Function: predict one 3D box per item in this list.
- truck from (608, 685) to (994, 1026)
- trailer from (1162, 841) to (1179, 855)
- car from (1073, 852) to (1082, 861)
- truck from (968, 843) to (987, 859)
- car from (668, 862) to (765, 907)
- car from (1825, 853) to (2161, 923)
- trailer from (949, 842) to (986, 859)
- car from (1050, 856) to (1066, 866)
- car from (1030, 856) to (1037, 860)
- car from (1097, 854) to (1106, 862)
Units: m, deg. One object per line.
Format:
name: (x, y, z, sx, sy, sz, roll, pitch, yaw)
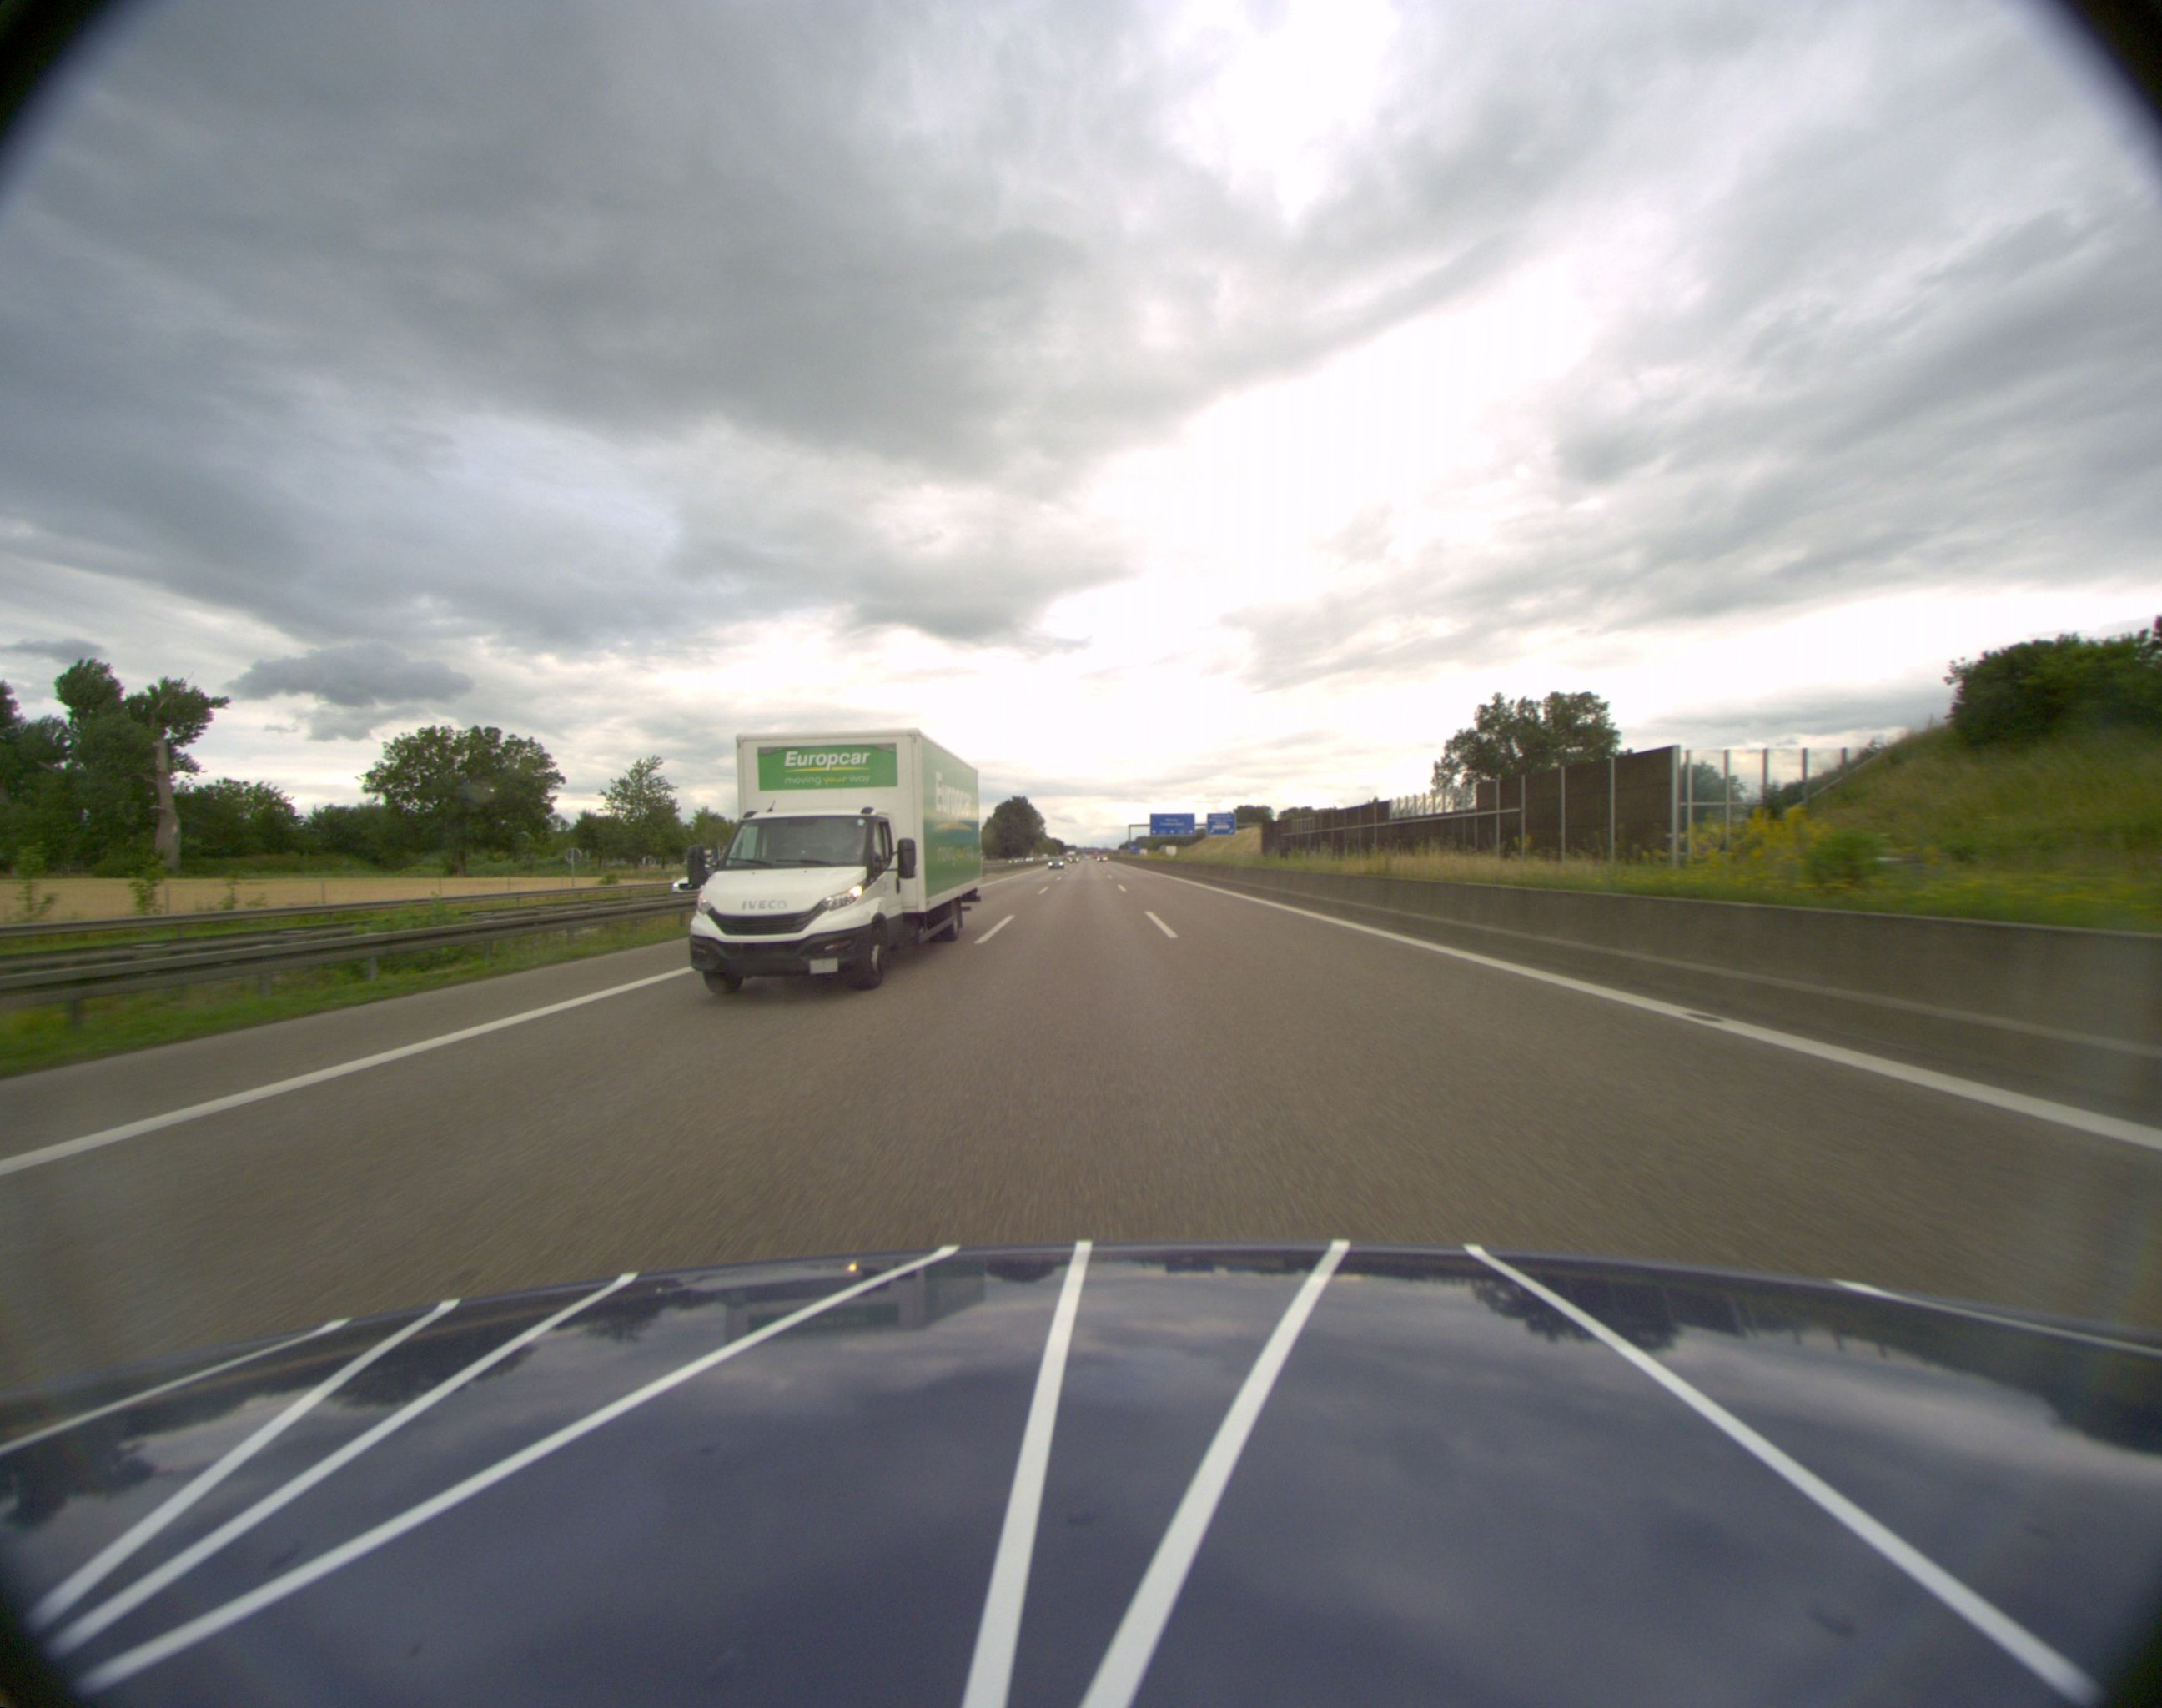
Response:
truck: (-3.461, 0.014, 12.519, 2.777, 3.484, 9.062, -2, 0, 1)
trailer: (22.640, -1.425, 192.897, 2.827, 3.357, 13.509, -1, 0, 1)
car: (-0.797, 0.565, 167.448, 1.998, 2.002, 4.000, 0, 0, 1)
truck: (-31.635, -0.920, 232.251, 2.883, 4.597, 5.158, -4, 1, -44)
car: (-16.290, 1.303, 34.275, 1.832, 1.746, 5.065, -1, 0, 1)
car: (16.204, 0.527, 13.821, 1.633, 1.033, 4.001, -2, 0, 5)
trailer: (-35.535, -1.058, 236.411, 2.869, 4.651, 15.769, -4, 1, -43)
car: (-2.835, 0.879, 94.693, 1.781, 1.180, 4.000, -1, 0, 1)
car: (-13.946, 1.143, 222.255, 1.828, 1.236, 3.878, -1, 0, 1)
car: (4.771, 0.945, 178.275, 1.998, 2.002, 4.000, 0, 0, 1)
